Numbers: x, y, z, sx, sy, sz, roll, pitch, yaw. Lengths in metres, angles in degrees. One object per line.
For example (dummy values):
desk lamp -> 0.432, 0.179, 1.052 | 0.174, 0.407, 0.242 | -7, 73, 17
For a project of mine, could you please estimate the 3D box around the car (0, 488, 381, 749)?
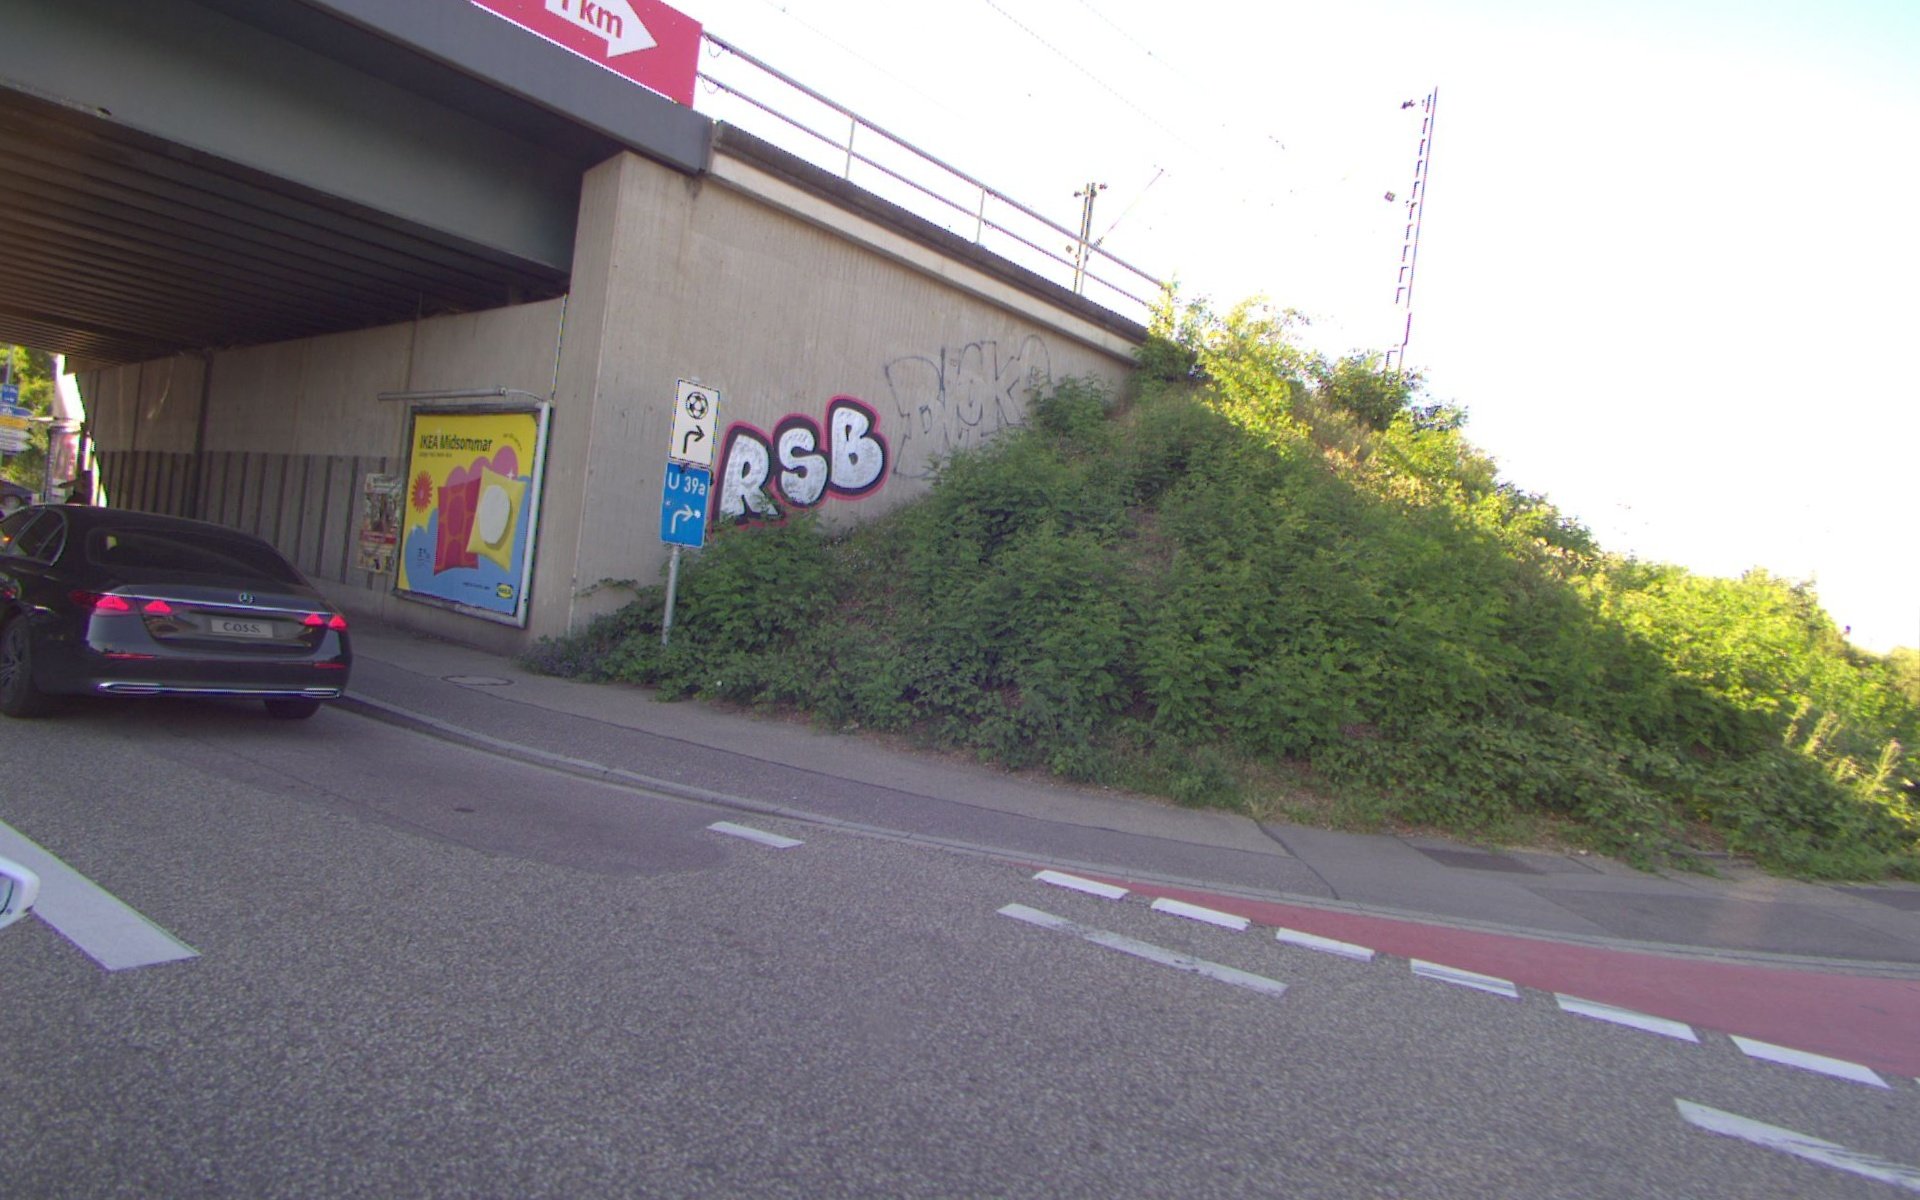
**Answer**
car -> -6.758, -0.006, 8.058 | 4.531, 1.472, 1.742 | 8, 0, 34

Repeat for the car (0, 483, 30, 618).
car -> -12.767, -0.758, 11.934 | 3.773, 1.514, 1.772 | 6, 0, 36

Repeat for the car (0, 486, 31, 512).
car -> -46.077, -4.935, 47.665 | 1.201, 1.094, 2.820 | 6, -1, 39

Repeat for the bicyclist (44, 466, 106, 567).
bicyclist -> -17.991, -1.698, 20.449 | 0.821, 1.930, 0.681 | 6, 0, 39

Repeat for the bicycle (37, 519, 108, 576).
bicycle -> -18.061, -1.081, 20.449 | 2.844, 0.975, 0.578 | 5, -1, 40
